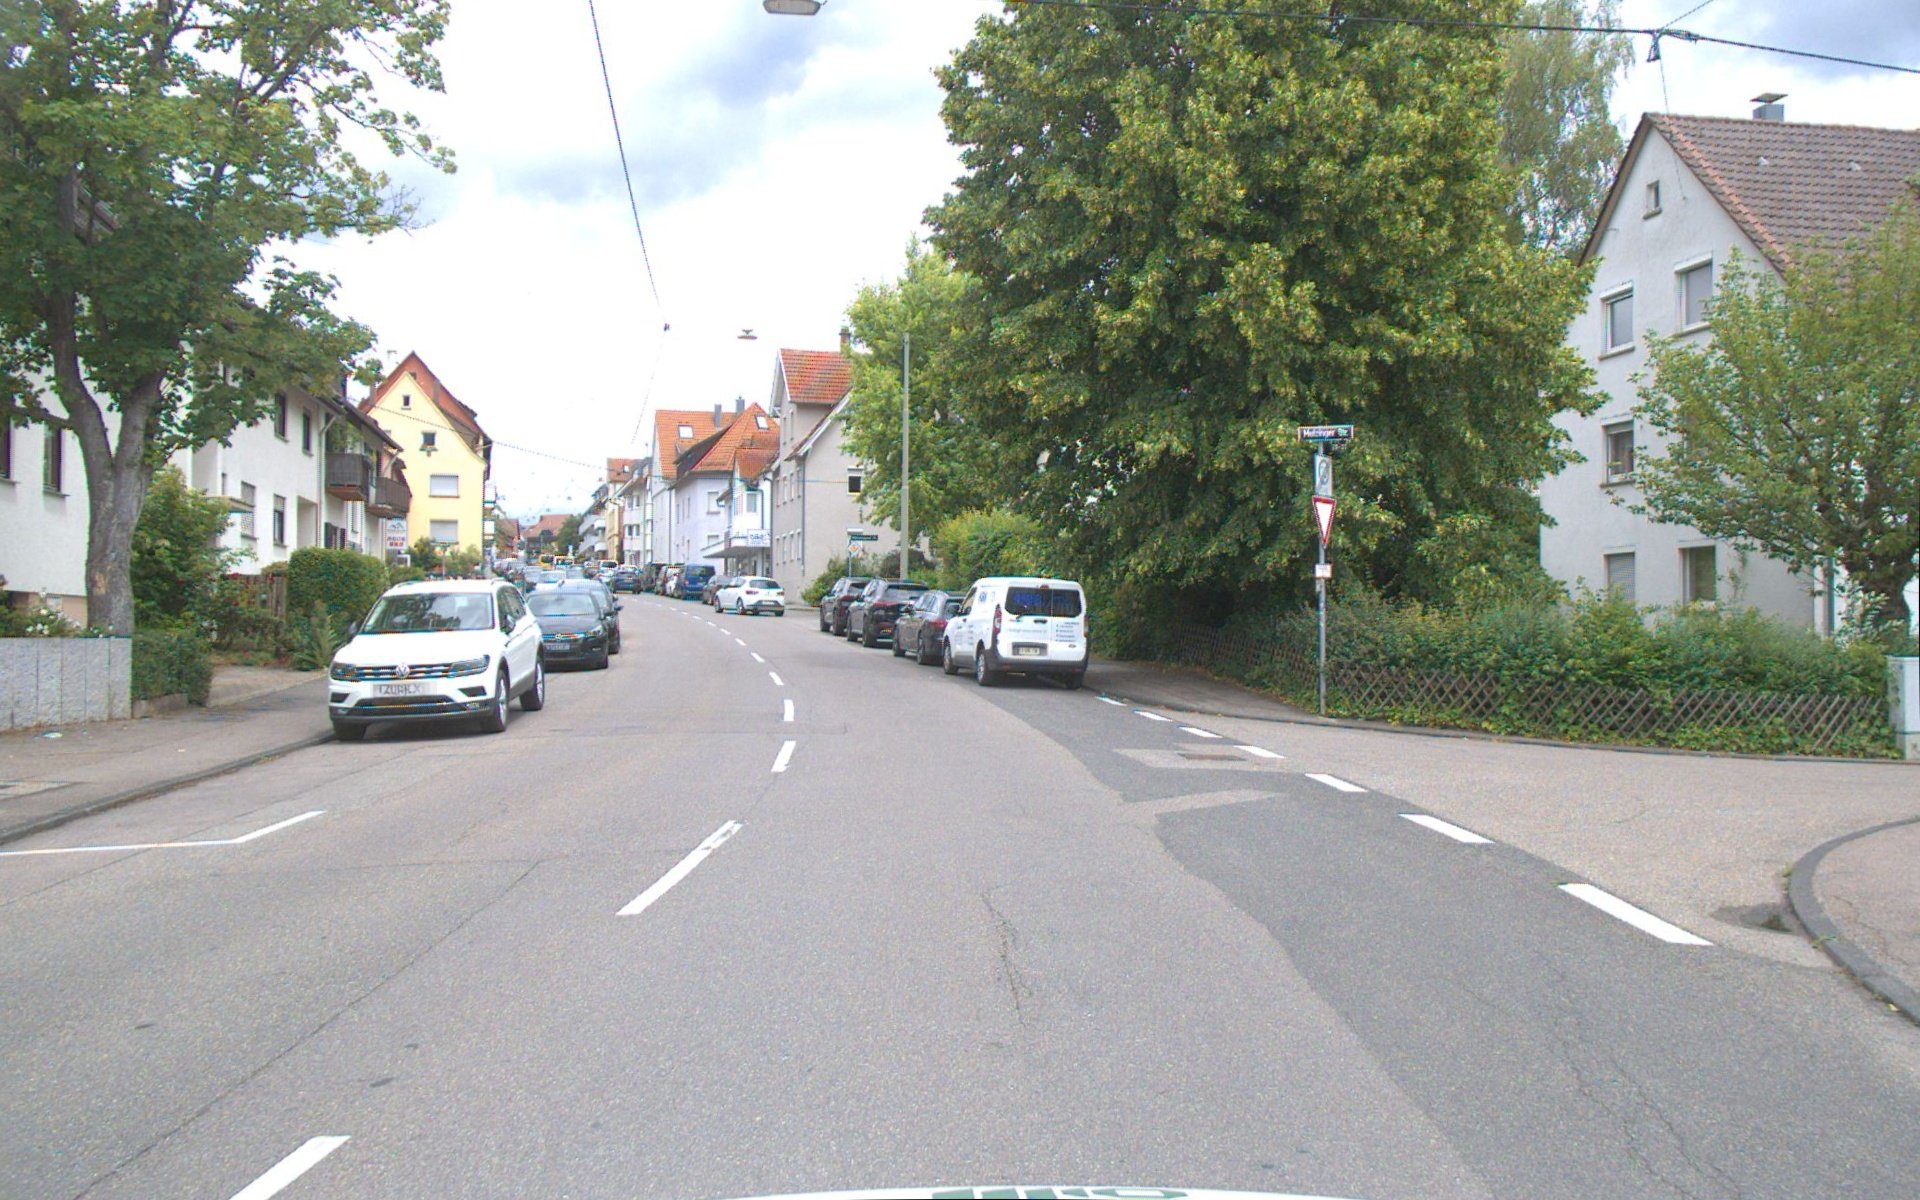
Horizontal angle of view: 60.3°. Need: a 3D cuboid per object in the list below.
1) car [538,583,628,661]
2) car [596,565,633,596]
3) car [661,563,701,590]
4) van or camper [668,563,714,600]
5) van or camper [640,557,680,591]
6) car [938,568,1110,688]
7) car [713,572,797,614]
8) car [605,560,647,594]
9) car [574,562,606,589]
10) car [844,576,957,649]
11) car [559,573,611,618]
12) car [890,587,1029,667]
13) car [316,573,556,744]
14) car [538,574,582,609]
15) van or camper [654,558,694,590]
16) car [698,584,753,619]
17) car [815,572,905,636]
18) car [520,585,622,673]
[{"bbox_3d":[-8.231,0.424,36.316,1.732,1.463,4.066,-3,2,-12],"label":"car"},{"bbox_3d":[-24.562,-1.395,117.408,2.119,2.048,3.981,2,1,-18],"label":"car"},{"bbox_3d":[-16.681,-1.419,98.796,1.687,1.460,4.617,2,1,-17],"label":"car"},{"bbox_3d":[-15.141,-1.058,93.036,1.896,1.959,4.808,1,1,-17],"label":"van or camper"},{"bbox_3d":[-20.362,-1.770,111.993,1.962,2.101,5.918,3,1,-17],"label":"van or camper"},{"bbox_3d":[1.017,0.420,28.787,1.806,1.805,4.303,3,1,-14],"label":"car"},{"bbox_3d":[-7.849,-0.295,62.975,1.918,1.464,3.965,1,1,-27],"label":"car"},{"bbox_3d":[-21.002,-1.456,103.902,2.119,2.048,3.981,2,1,-18],"label":"car"},{"bbox_3d":[-29.845,-1.968,133.309,2.119,2.048,3.981,2,1,-18],"label":"car"},{"bbox_3d":[-1.538,0.274,40.855,1.959,1.643,4.525,2,0,-12],"label":"car"},{"bbox_3d":[-13.576,-0.204,59.787,1.697,1.483,3.884,-3,2,-14],"label":"car"},{"bbox_3d":[-0.093,0.513,34.291,1.959,1.504,4.606,0,1,-12],"label":"car"},{"bbox_3d":[-6.027,0.580,19.579,1.814,1.744,4.569,-1,1,-7],"label":"car"},{"bbox_3d":[-20.205,-0.453,83.641,1.800,1.605,4.023,-3,2,-10],"label":"car"},{"bbox_3d":[-18.048,-1.642,104.364,1.842,1.860,4.658,3,1,-17],"label":"van or camper"},{"bbox_3d":[-11.675,0.054,82.171,1.962,1.544,4.869,2,0,-17],"label":"car"},{"bbox_3d":[-2.856,0.074,46.309,1.779,1.643,4.525,2,0,-12],"label":"car"},{"bbox_3d":[-7.378,0.497,31.519,1.732,1.463,4.065,-1,1,-13],"label":"car"}]
